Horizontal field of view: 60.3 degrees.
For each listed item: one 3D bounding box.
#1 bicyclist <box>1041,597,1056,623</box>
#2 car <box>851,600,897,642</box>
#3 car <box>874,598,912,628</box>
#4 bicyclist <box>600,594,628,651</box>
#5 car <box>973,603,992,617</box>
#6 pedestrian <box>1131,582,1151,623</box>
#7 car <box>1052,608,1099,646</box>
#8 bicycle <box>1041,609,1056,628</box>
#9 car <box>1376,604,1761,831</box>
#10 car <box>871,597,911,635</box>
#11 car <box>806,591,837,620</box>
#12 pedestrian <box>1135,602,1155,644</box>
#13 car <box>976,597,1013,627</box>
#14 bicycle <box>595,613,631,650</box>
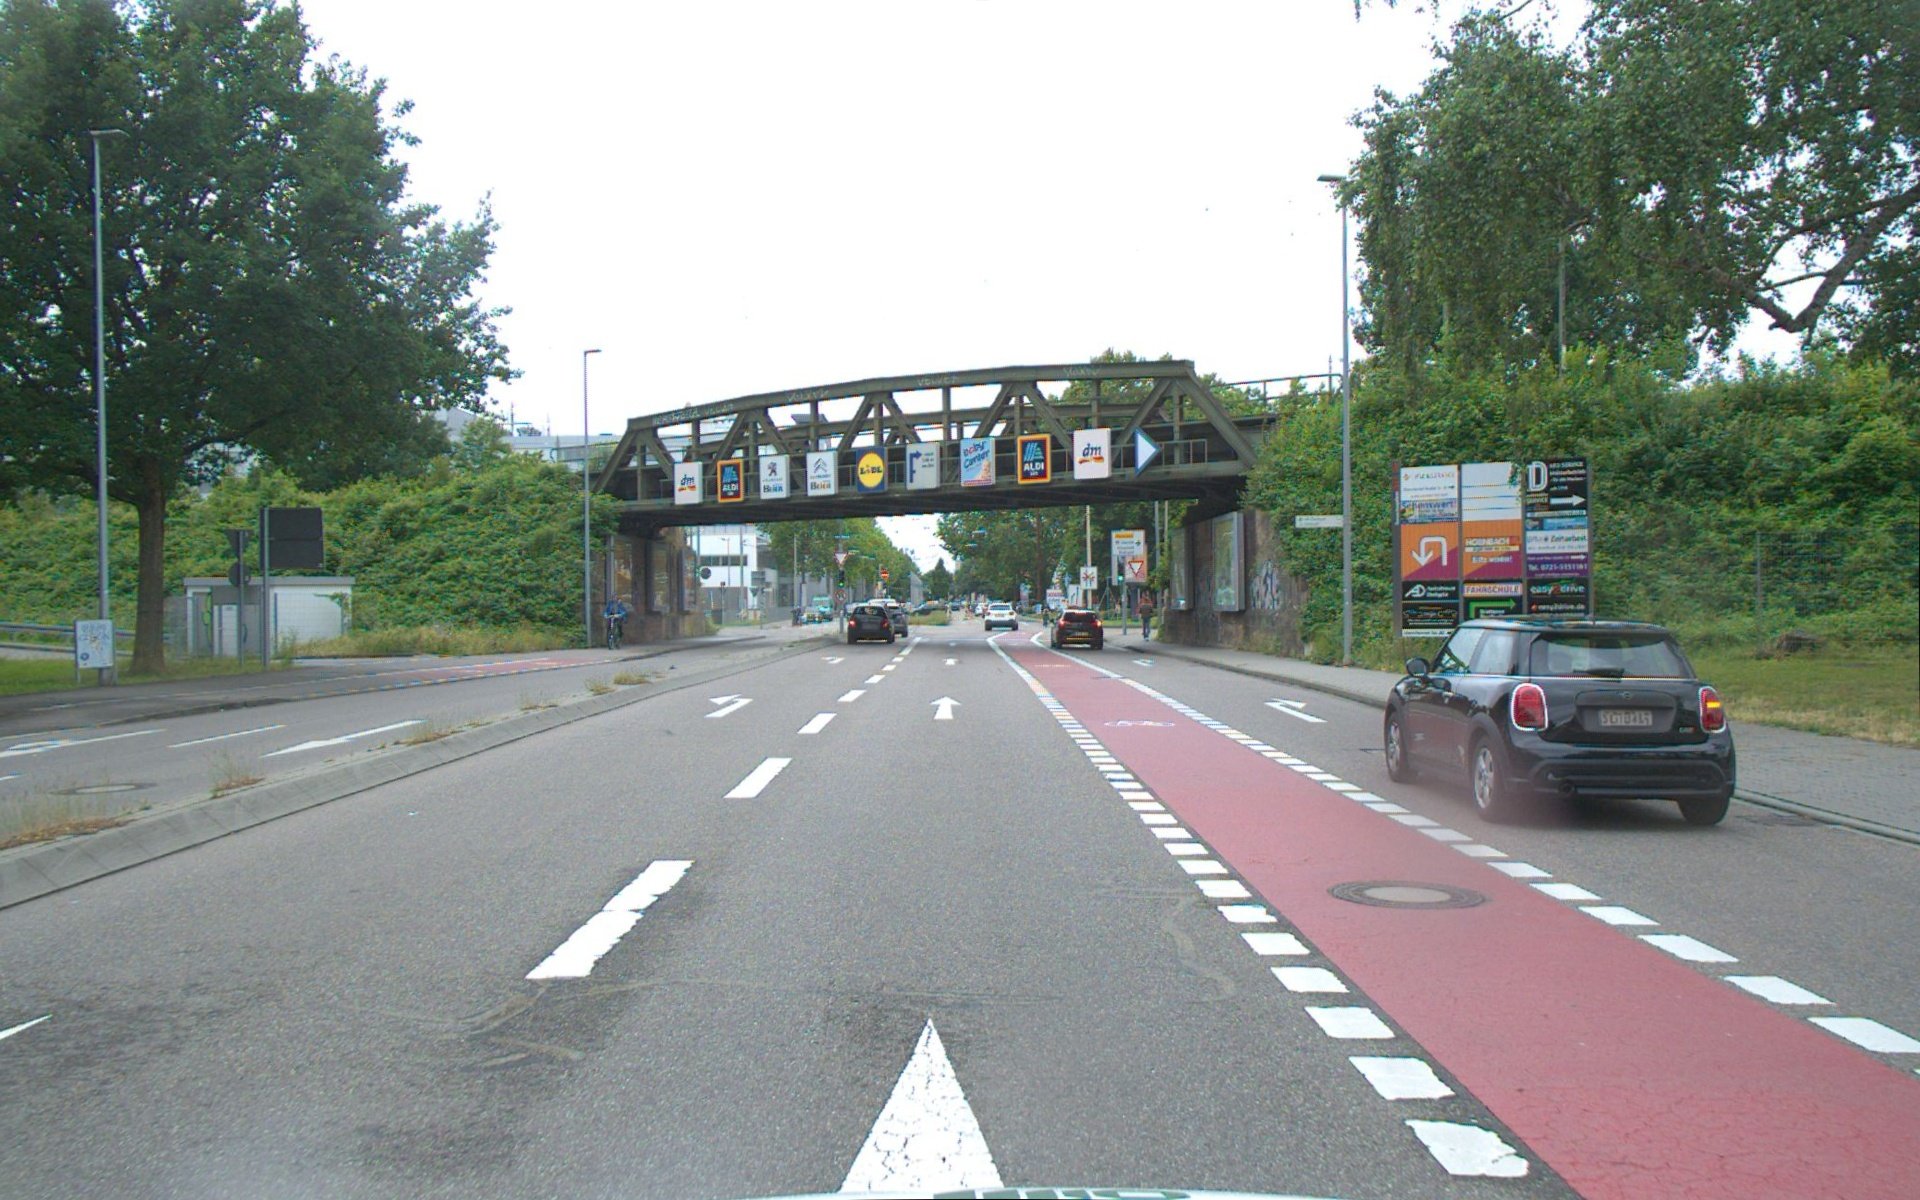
[{"bbox_3d":[5.742,0.628,107.380,0.800,1.659,1.235,-1,0,-1],"label":"bicyclist"},{"bbox_3d":[-3.386,0.806,64.973,1.733,1.554,3.667,0,0,-4],"label":"car"},{"bbox_3d":[-3.703,0.676,90.119,1.923,1.554,5.006,0,0,-4],"label":"car"},{"bbox_3d":[-11.703,0.771,55.930,0.687,1.907,1.020,1,-1,0],"label":"bicyclist"},{"bbox_3d":[2.493,1.099,182.183,1.760,1.540,3.703,0,0,-4],"label":"car"},{"bbox_3d":[7.993,0.117,73.140,0.853,1.790,0.788,-1,0,6],"label":"pedestrian"},{"bbox_3d":[4.177,0.952,60.169,1.613,1.303,3.421,0,0,2],"label":"car"},{"bbox_3d":[5.757,1.190,107.379,0.800,1.234,2.683,-1,0,-1],"label":"bicycle"},{"bbox_3d":[4.484,0.781,12.793,1.644,1.456,3.774,0,0,1],"label":"car"},{"bbox_3d":[-3.195,0.728,75.879,1.737,1.681,3.667,0,0,-4],"label":"car"},{"bbox_3d":[-14.002,0.572,167.371,2.280,2.875,5.951,-1,0,3],"label":"car"},{"bbox_3d":[7.407,0.900,66.153,0.726,1.669,0.779,-1,0,2],"label":"pedestrian"},{"bbox_3d":[1.921,0.666,94.057,1.787,1.628,3.773,0,0,-4],"label":"car"},{"bbox_3d":[-11.710,1.044,55.934,0.698,1.207,2.370,1,-1,0],"label":"bicycle"}]
